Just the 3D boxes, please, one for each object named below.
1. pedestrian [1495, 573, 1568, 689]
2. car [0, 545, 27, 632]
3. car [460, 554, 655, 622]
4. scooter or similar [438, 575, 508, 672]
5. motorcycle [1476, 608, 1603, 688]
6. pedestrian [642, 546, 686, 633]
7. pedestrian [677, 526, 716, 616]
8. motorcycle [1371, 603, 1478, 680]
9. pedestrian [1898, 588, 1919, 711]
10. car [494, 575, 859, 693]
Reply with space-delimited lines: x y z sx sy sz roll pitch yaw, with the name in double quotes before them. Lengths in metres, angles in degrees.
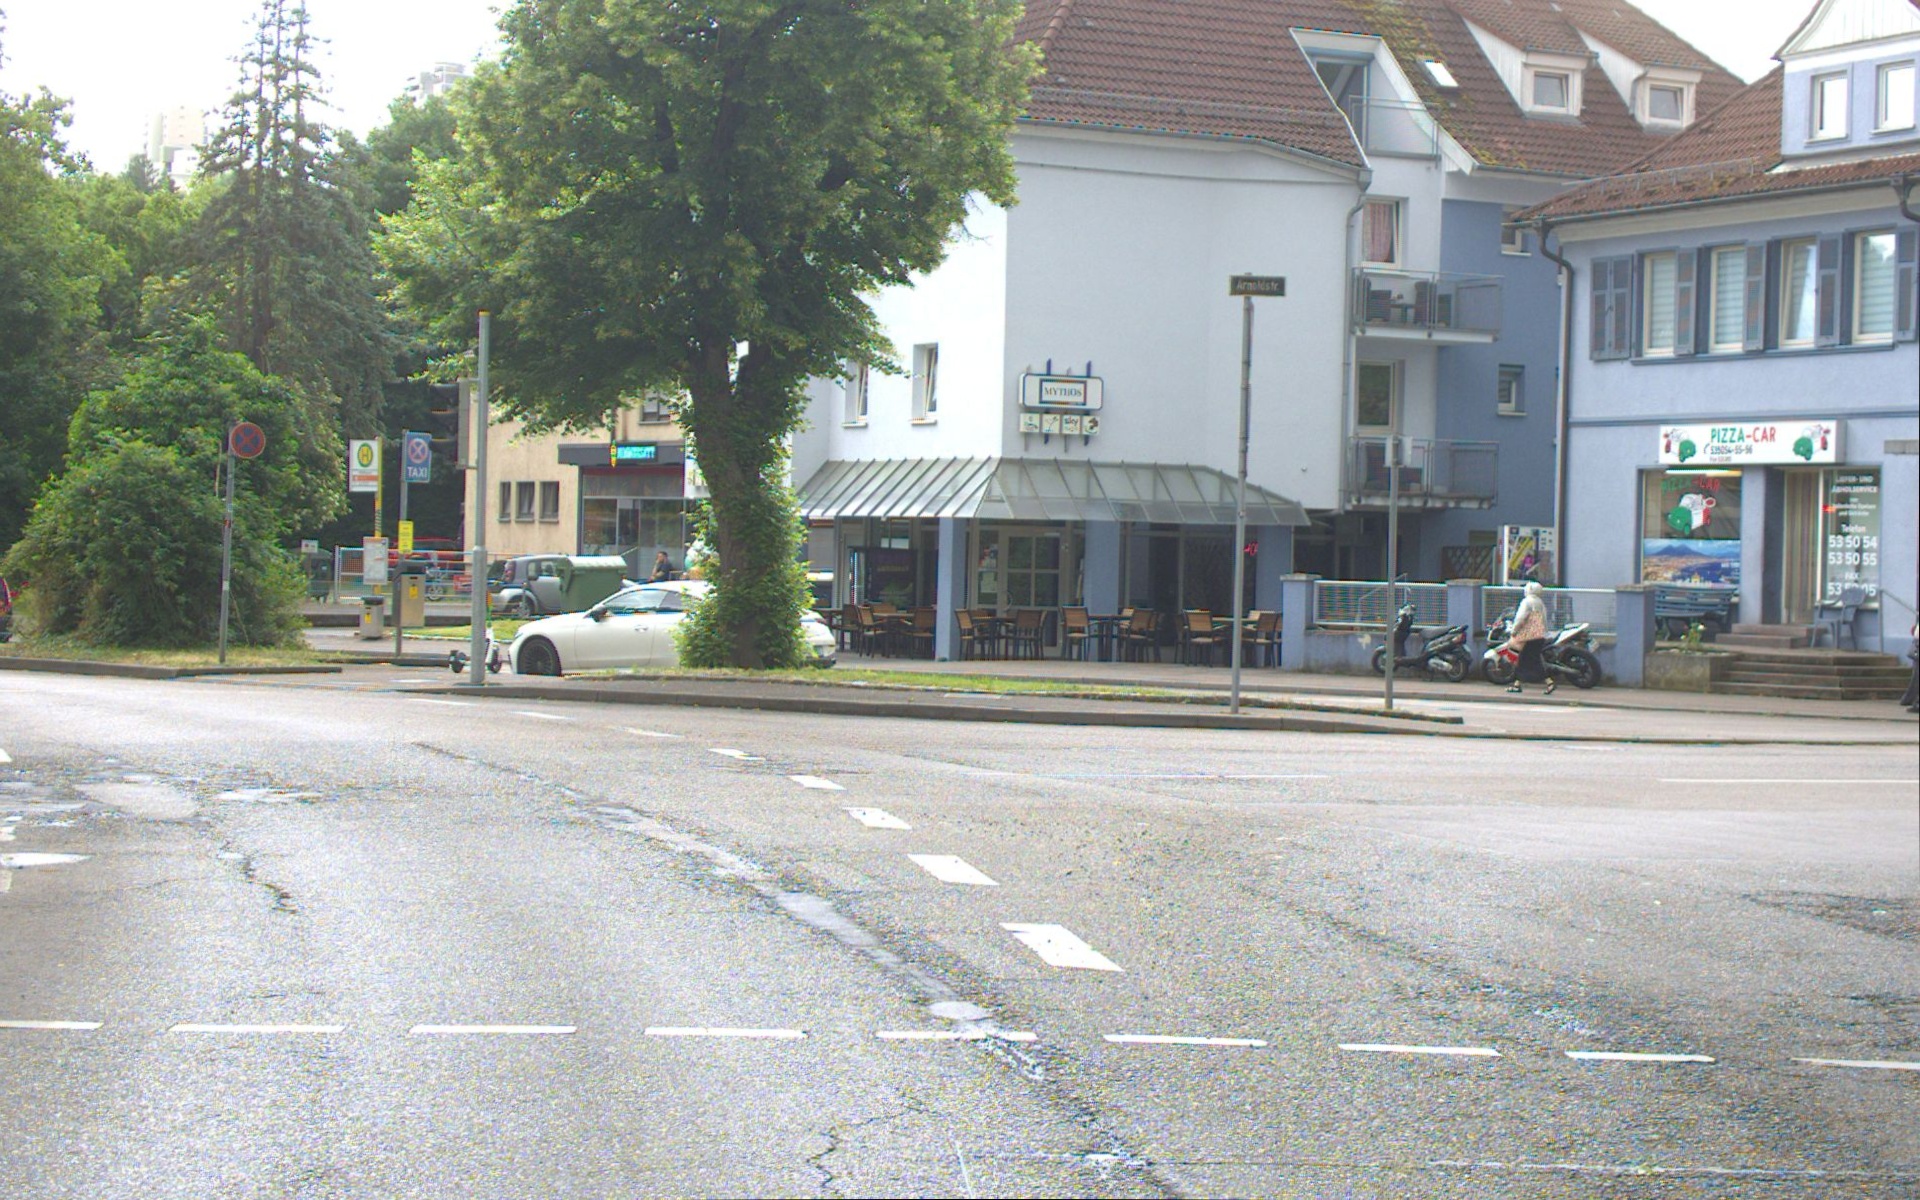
"pedestrian" 7.811 0.415 46.966 0.732 1.554 0.767 1 0 31
"car" -16.419 -0.215 53.516 3.322 1.347 1.778 1 1 27
"car" -8.855 -0.267 75.624 3.936 1.437 1.753 1 1 -20
"scooter or similar" -6.029 0.284 42.611 0.442 1.171 1.437 1 1 9
"motorcycle" 8.150 0.665 48.358 1.628 1.085 0.626 1 1 32
"pedestrian" -6.942 -0.253 80.668 0.837 2.007 1.056 1 1 -14
"pedestrian" -4.542 -0.501 59.255 0.543 1.554 0.467 0 0 13
"motorcycle" 6.774 0.593 50.128 1.458 1.085 0.523 1 1 35
"pedestrian" 12.350 0.631 43.632 0.695 1.554 0.665 1 0 31
"car" -3.804 0.422 45.755 4.709 1.405 1.898 2 1 35
